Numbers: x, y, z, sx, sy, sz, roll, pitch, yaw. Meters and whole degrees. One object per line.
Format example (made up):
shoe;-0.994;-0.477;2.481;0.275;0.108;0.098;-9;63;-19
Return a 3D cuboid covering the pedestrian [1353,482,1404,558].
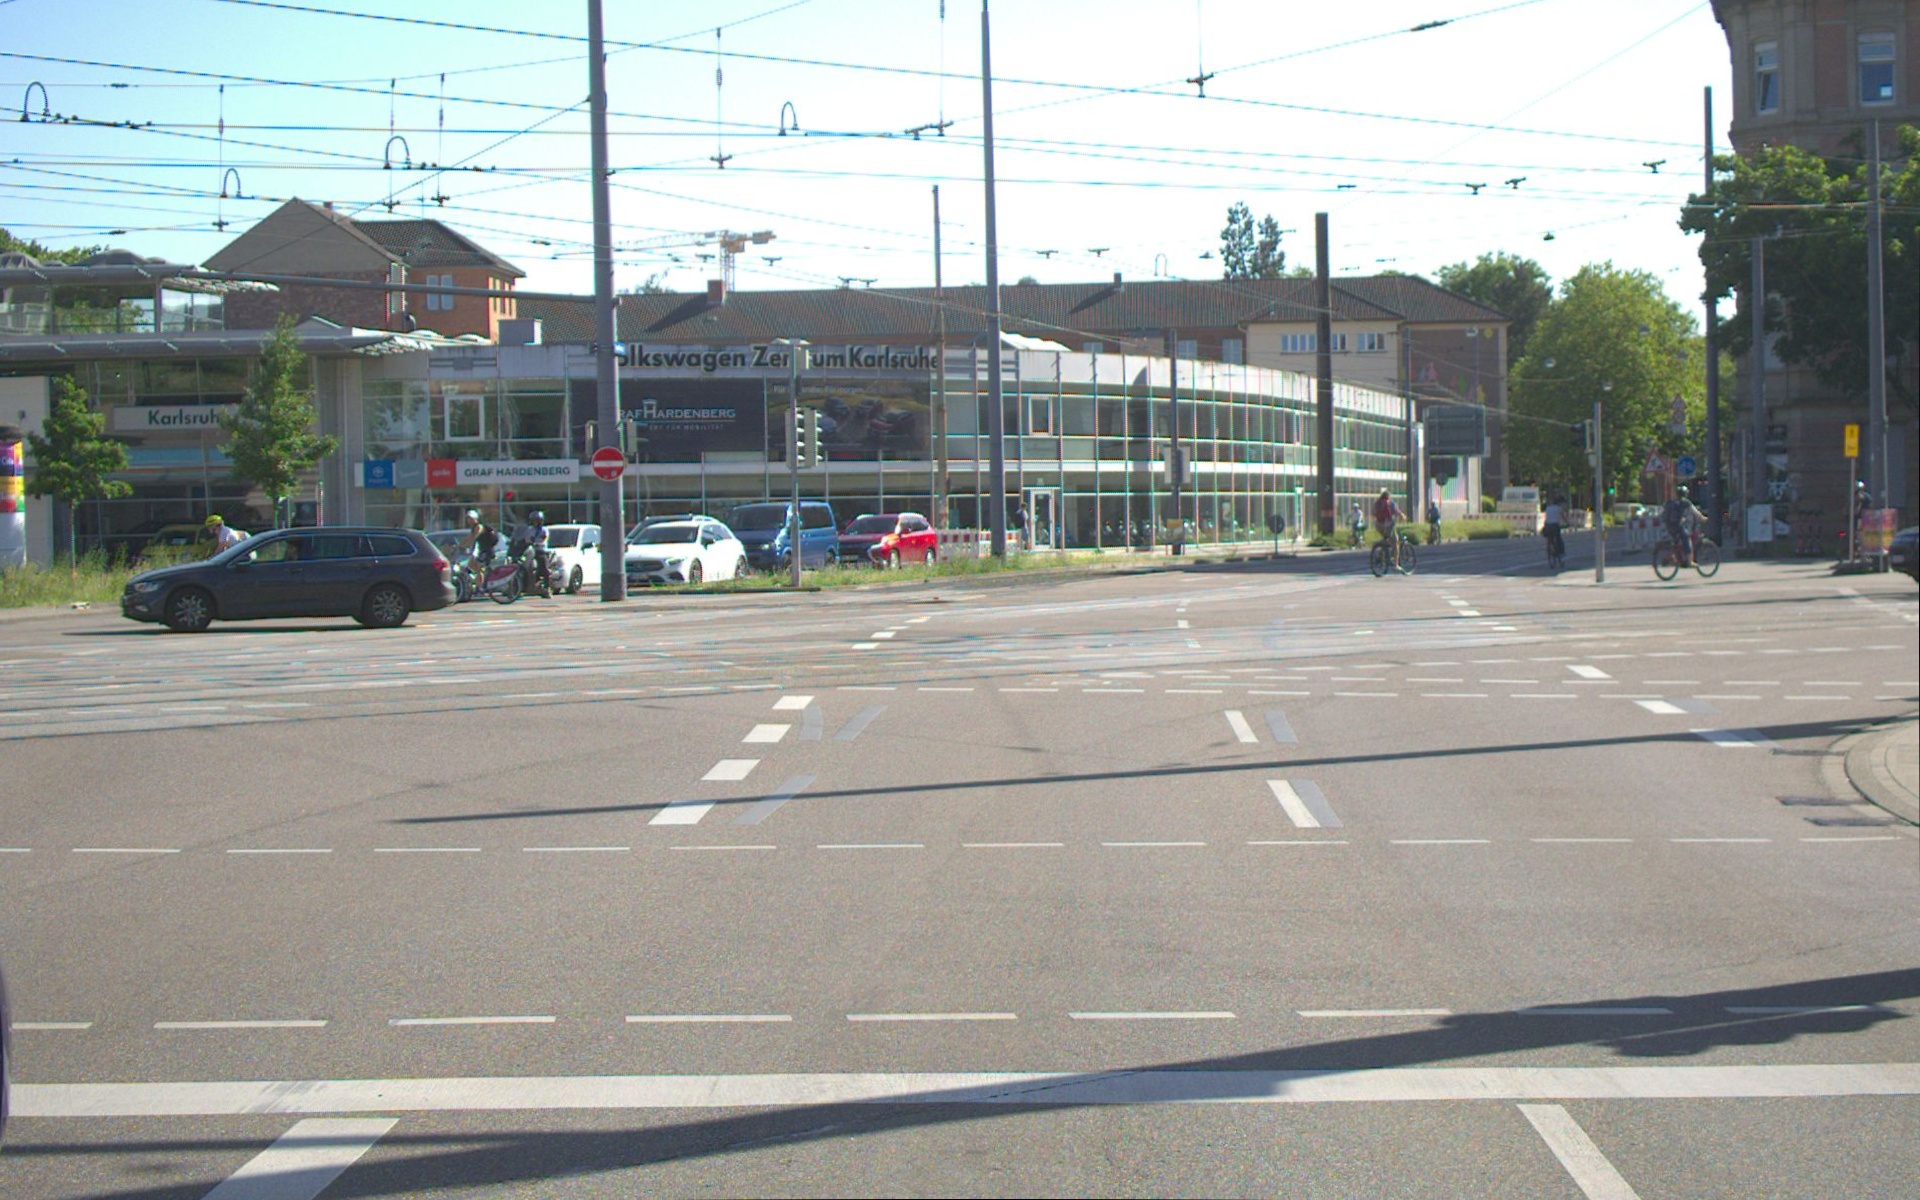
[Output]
pedestrian;8.989;-1.714;73.862;0.716;1.626;0.805;-2;2;-44

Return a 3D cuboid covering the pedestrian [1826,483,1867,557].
pedestrian;18.255;-1.653;70.797;0.548;1.511;0.705;0;2;42

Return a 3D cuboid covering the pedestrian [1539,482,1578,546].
pedestrian;14.353;-2.073;82.484;0.747;1.517;0.717;0;1;26

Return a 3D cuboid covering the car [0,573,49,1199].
car;-2.803;0.693;5.166;1.711;1.440;4.032;1;1;1

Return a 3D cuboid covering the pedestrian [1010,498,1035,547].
pedestrian;2.150;-2.657;117.862;0.544;1.683;0.628;0;2;45

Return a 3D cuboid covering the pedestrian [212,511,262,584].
pedestrian;-12.107;-0.885;57.570;0.747;1.200;0.424;-1;1;-22

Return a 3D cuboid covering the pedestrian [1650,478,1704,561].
pedestrian;14.108;-1.584;67.617;0.716;1.626;0.758;-2;2;-42

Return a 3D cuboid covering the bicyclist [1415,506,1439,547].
bicyclist;18.769;-2.950;138.077;0.810;1.618;0.928;-1;1;17

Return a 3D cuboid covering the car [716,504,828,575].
car;-4.594;-1.504;84.433;1.627;1.686;3.683;-1;1;16

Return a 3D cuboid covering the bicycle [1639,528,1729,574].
bicycle;14.269;-0.972;67.745;1.926;0.867;0.745;-2;2;-42

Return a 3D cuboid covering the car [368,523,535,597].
car;-9.793;-0.785;66.477;1.705;1.349;3.698;0;1;18

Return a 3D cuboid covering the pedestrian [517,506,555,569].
pedestrian;-8.147;-1.201;66.022;0.423;1.200;0.749;0;1;18

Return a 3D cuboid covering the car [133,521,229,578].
car;-23.952;-1.575;105.845;1.966;1.700;4.083;-1;1;1

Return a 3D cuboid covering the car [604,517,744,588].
car;-5.823;-0.992;70.448;1.627;1.377;3.735;-1;1;16

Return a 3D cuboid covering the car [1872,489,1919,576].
car;18.531;-1.231;60.948;4.249;1.497;1.705;-1;1;-12

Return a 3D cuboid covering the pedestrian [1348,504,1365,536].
pedestrian;14.872;-3.000;128.998;0.423;1.200;0.679;0;1;27

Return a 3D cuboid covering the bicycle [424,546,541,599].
bicycle;-8.574;-0.490;61.794;2.004;0.910;0.562;-1;1;-18

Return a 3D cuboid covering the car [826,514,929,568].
car;-2.168;-1.576;91.500;1.627;1.359;3.683;0;1;18

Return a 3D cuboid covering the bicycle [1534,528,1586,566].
bicycle;14.440;-1.277;82.655;0.744;0.867;1.928;0;1;25

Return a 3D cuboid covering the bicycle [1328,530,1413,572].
bicycle;8.794;-1.061;73.631;1.926;0.867;0.745;-2;2;-44

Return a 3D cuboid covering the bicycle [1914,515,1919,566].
bicycle;21.680;-1.307;74.848;2.012;1.116;0.550;-2;1;-32

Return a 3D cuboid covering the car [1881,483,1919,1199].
car;2.799;0.615;5.049;1.695;1.636;4.297;-1;1;0

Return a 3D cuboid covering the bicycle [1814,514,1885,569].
bicycle;18.353;-1.213;70.900;0.548;1.116;2.014;0;2;42

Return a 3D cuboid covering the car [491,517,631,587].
car;-8.373;-1.027;72.395;1.627;1.419;3.683;-1;1;16

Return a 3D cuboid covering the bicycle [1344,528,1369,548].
bicycle;14.877;-2.335;129.003;0.423;0.715;1.473;0;2;26

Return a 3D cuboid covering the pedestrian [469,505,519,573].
pedestrian;-8.382;-1.104;61.845;0.793;1.200;0.560;-1;1;-17

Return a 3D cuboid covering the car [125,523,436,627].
car;-9.859;-0.385;49.827;4.209;1.396;1.859;-1;1;-18
